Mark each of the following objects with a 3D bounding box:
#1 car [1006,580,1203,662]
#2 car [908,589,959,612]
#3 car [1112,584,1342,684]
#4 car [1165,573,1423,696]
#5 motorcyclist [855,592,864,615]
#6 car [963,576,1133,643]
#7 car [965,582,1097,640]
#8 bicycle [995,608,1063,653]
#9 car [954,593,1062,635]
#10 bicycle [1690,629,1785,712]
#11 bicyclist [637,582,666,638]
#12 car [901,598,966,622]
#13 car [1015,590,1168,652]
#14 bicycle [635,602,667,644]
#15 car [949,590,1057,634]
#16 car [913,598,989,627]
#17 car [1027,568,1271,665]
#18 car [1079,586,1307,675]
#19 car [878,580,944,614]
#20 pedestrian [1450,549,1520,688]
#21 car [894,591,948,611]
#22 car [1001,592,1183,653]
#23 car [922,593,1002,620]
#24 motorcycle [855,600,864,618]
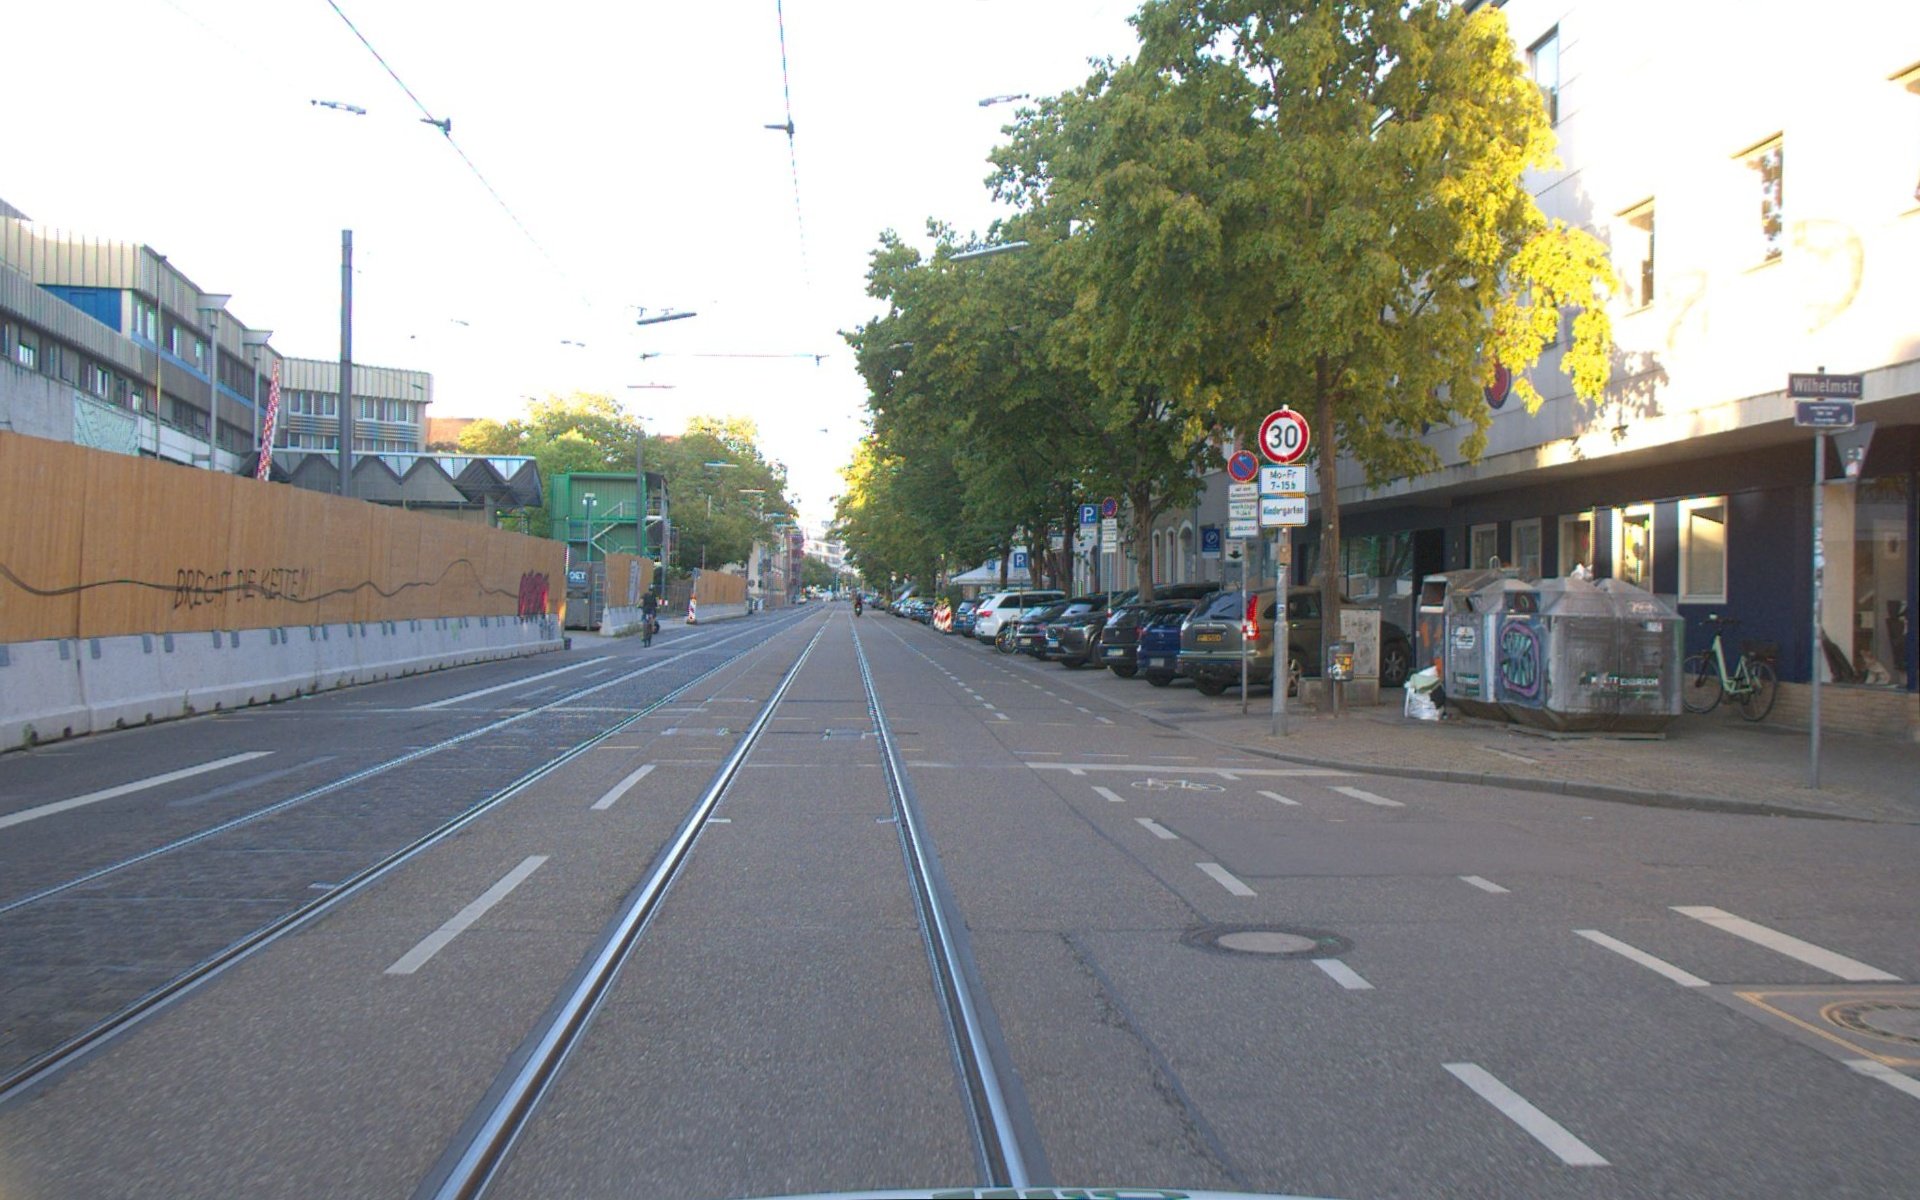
[{"bbox_3d":[3.380,0.468,38.823,4.155,1.677,1.962,-3,0,-23],"label":"car"},{"bbox_3d":[-2.082,0.043,128.645,3.872,1.648,1.919,-1,-1,-4],"label":"car"},{"bbox_3d":[4.770,0.570,29.385,3.850,1.528,1.791,-3,1,-35],"label":"car"},{"bbox_3d":[5.391,0.500,26.476,4.127,1.693,1.816,-3,1,-39],"label":"car"},{"bbox_3d":[-7.764,0.277,127.818,0.632,1.727,1.025,1,-1,-5],"label":"motorcyclist"},{"bbox_3d":[2.516,0.271,48.045,4.565,1.717,2.003,-2,0,-10],"label":"car"},{"bbox_3d":[2.442,0.373,56.722,4.109,1.838,1.985,-2,0,-33],"label":"car"},{"bbox_3d":[1.915,0.843,45.962,1.807,1.122,0.495,-3,1,-18],"label":"bicycle"},{"bbox_3d":[1.802,0.514,62.211,3.732,1.432,1.689,-2,0,-30],"label":"car"},{"bbox_3d":[9.111,0.812,19.413,0.334,0.898,1.324,-2,0,-7],"label":"bicycle"},{"bbox_3d":[-9.403,0.294,50.402,0.753,1.694,1.017,0,0,-4],"label":"bicyclist"},{"bbox_3d":[-1.874,0.695,115.198,4.180,1.576,2.012,-1,0,-15],"label":"car"},{"bbox_3d":[3.517,0.545,44.134,3.706,1.451,1.711,-3,1,-29],"label":"car"},{"bbox_3d":[-9.413,0.684,50.450,0.753,1.249,1.934,0,0,-4],"label":"bicycle"},{"bbox_3d":[1.706,0.465,64.728,3.919,1.580,1.689,-2,0,-30],"label":"car"},{"bbox_3d":[-0.534,0.710,97.695,4.061,1.496,1.811,-3,0,-23],"label":"car"},{"bbox_3d":[4.170,0.333,36.545,4.896,1.858,2.193,-3,0,-23],"label":"car"},{"bbox_3d":[4.573,0.569,32.358,4.115,1.490,1.950,-3,1,-32],"label":"car"},{"bbox_3d":[-4.056,-0.222,136.952,5.022,2.689,2.009,-1,0,-21],"label":"car"},{"bbox_3d":[7.819,0.272,24.667,0.678,2.020,0.785,-2,0,-4],"label":"pedestrian"},{"bbox_3d":[-3.107,0.068,132.366,3.906,1.512,1.903,-1,-1,-28],"label":"car"},{"bbox_3d":[3.323,0.549,41.581,4.161,1.451,1.959,0,0,-27],"label":"car"},{"bbox_3d":[0.118,0.365,92.636,4.106,1.451,1.810,0,0,-24],"label":"car"},{"bbox_3d":[-7.756,0.676,127.680,0.632,1.393,1.810,1,-1,-5],"label":"motorcycle"}]
